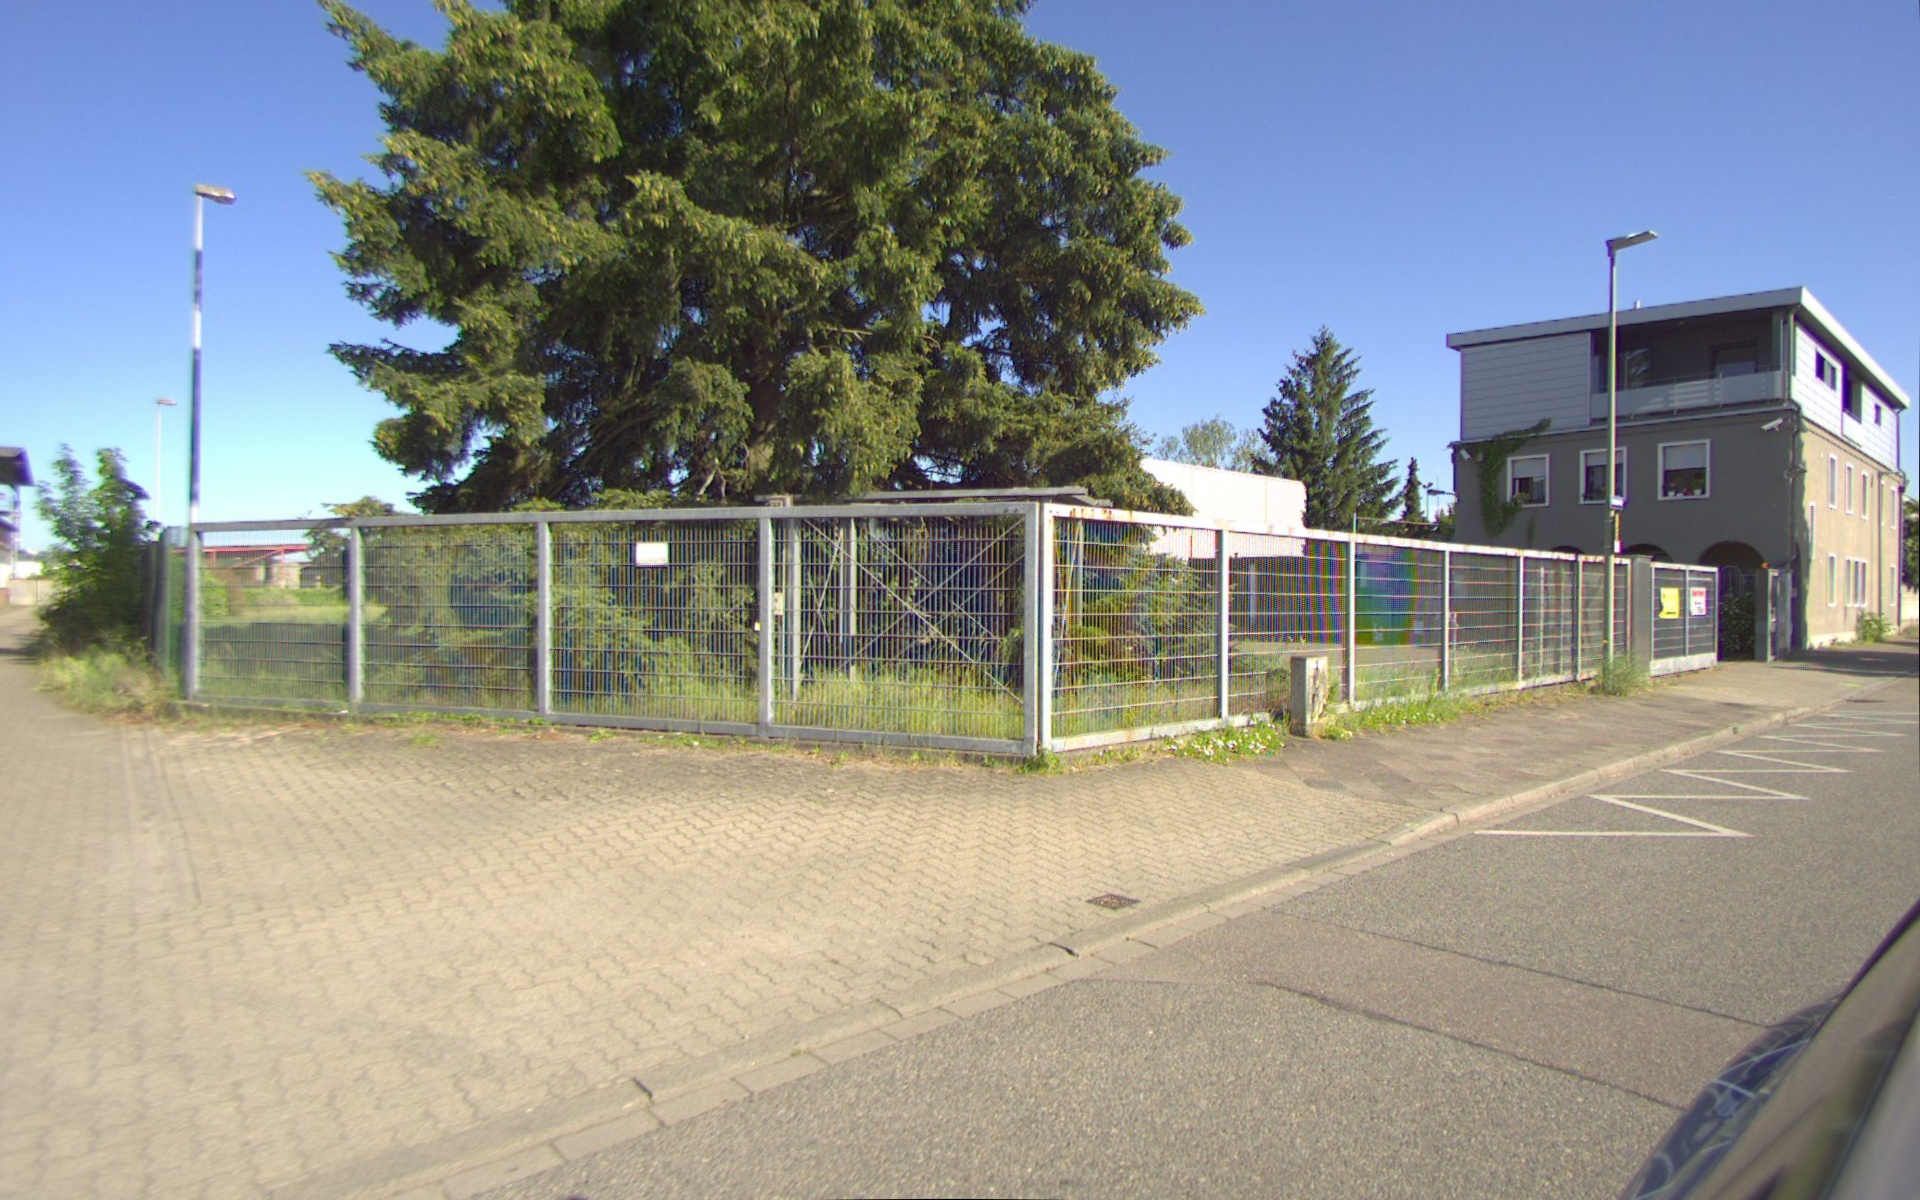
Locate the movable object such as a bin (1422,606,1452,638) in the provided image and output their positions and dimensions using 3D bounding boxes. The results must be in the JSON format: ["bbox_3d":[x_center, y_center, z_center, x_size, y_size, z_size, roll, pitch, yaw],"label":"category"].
[{"bbox_3d":[15.358,0.694,32.574,0.736,0.984,0.616,-2,2,-40],"label":"movable object such as a bin"}]
